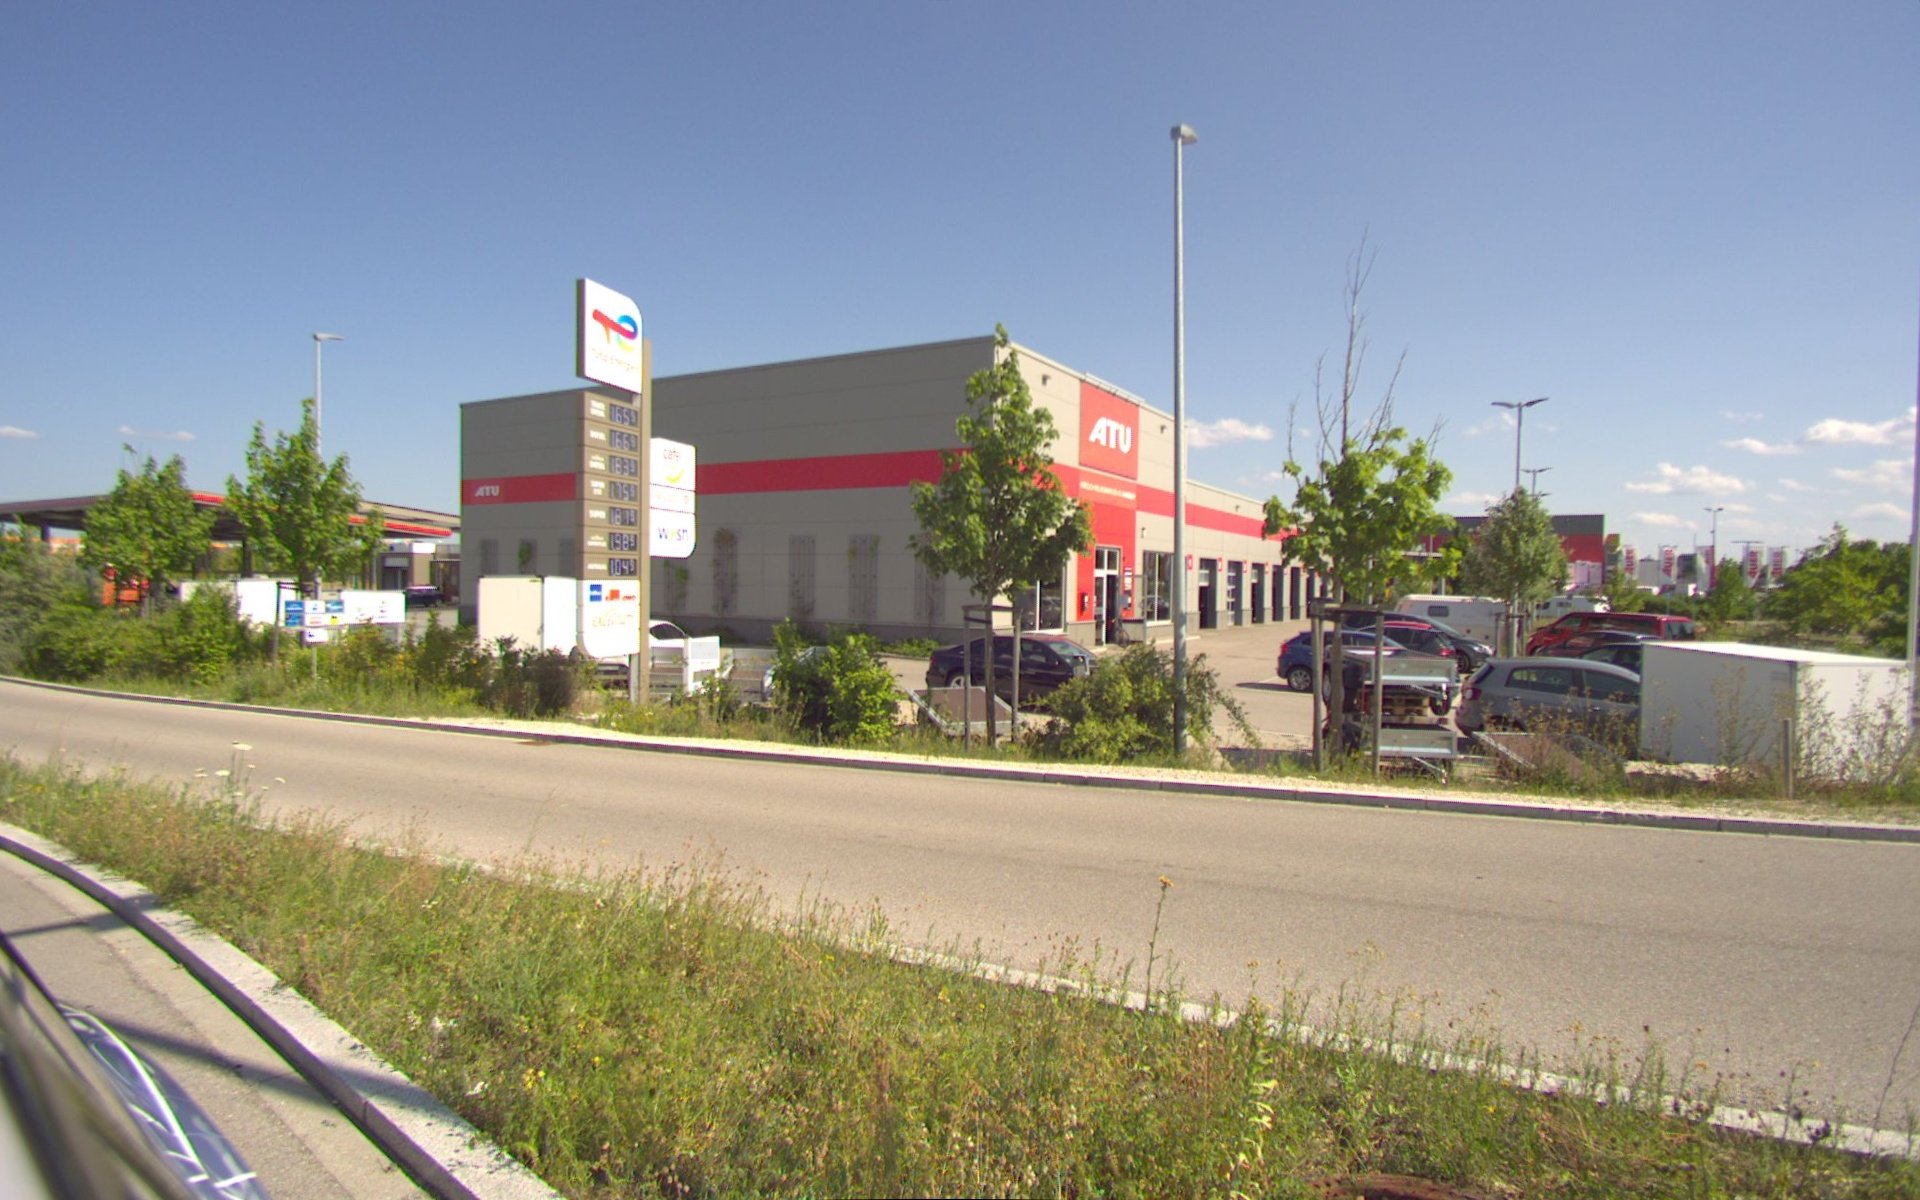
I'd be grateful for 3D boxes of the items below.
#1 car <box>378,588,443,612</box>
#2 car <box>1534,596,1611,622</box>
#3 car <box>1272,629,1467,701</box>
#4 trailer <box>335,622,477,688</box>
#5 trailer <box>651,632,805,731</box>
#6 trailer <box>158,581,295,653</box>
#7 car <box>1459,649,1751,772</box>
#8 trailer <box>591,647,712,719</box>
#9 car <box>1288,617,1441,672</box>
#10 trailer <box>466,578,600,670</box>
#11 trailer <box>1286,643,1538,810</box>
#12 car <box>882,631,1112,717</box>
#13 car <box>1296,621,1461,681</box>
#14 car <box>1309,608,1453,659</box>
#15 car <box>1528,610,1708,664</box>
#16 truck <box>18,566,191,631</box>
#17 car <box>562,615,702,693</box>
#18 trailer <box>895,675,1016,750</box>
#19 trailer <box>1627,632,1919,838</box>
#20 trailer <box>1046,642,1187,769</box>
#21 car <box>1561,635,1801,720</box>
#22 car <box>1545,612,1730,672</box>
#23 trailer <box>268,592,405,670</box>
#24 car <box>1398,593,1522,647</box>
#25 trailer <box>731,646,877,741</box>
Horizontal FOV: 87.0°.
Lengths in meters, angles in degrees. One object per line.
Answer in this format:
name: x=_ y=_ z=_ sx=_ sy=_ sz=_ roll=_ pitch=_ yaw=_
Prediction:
car: x=-38.681 y=-0.021 z=71.261 sx=1.695 sy=1.586 sz=3.637 roll=0 pitch=1 yaw=40
car: x=56.525 y=0.811 z=93.532 sx=2.005 sy=2.251 sz=6.294 roll=-1 pitch=1 yaw=-18
car: x=9.427 y=1.432 z=23.334 sx=3.984 sy=1.475 sz=1.807 roll=0 pitch=-2 yaw=30
trailer: x=-14.768 y=1.426 z=27.192 sx=1.581 sy=1.521 sz=3.593 roll=-1 pitch=1 yaw=6
trailer: x=-4.145 y=1.406 z=18.545 sx=1.533 sy=1.495 sz=3.178 roll=0 pitch=1 yaw=13
trailer: x=-21.975 y=0.471 z=30.479 sx=1.969 sy=2.029 sz=3.211 roll=-1 pitch=1 yaw=-5
car: x=10.104 y=1.662 z=16.116 sx=3.732 sy=1.563 sz=1.725 roll=0 pitch=1 yaw=32
trailer: x=-5.744 y=1.520 z=19.084 sx=1.303 sy=1.094 sz=2.773 roll=-1 pitch=1 yaw=3
car: x=12.178 y=1.298 z=30.536 sx=3.990 sy=1.475 sz=1.804 roll=0 pitch=1 yaw=35
trailer: x=-10.065 y=0.510 z=24.105 sx=1.725 sy=2.029 sz=3.237 roll=-1 pitch=1 yaw=3
trailer: x=6.029 y=1.603 z=14.001 sx=1.782 sy=1.785 sz=3.697 roll=-1 pitch=1 yaw=0
car: x=0.702 y=1.434 z=20.848 sx=4.486 sy=1.495 sz=1.782 roll=-1 pitch=0 yaw=35
car: x=11.634 y=1.359 z=28.223 sx=3.990 sy=1.475 sz=1.804 roll=0 pitch=1 yaw=35
car: x=13.463 y=1.029 z=32.434 sx=3.990 sy=1.475 sz=1.804 roll=0 pitch=1 yaw=35
car: x=20.503 y=1.107 z=31.772 sx=1.794 sy=1.475 sz=4.470 roll=-1 pitch=1 yaw=-25
truck: x=-46.782 y=-0.101 z=55.602 sx=2.623 sy=3.343 sz=6.858 roll=0 pitch=1 yaw=21
car: x=-7.452 y=1.176 z=23.425 sx=1.697 sy=1.548 sz=3.995 roll=-1 pitch=1 yaw=4
trailer: x=-0.044 y=1.823 z=16.818 sx=1.841 sy=0.888 sz=2.836 roll=-1 pitch=1 yaw=1
trailer: x=10.087 y=1.428 z=12.061 sx=1.782 sy=1.785 sz=3.698 roll=-1 pitch=2 yaw=0
trailer: x=2.426 y=1.611 z=16.519 sx=1.684 sy=1.462 sz=3.698 roll=-1 pitch=3 yaw=0
car: x=16.122 y=1.671 z=22.872 sx=1.794 sy=1.475 sz=4.014 roll=1 pitch=1 yaw=-25
car: x=19.041 y=1.123 z=28.636 sx=1.794 sy=1.475 sz=4.013 roll=-1 pitch=1 yaw=-25
trailer: x=-17.264 y=0.815 z=28.139 sx=1.976 sy=2.029 sz=2.731 roll=-1 pitch=1 yaw=7
car: x=19.934 y=0.756 z=40.366 sx=4.333 sy=2.029 sz=1.884 roll=0 pitch=1 yaw=31
trailer: x=-2.633 y=1.551 z=17.638 sx=1.378 sy=1.332 sz=2.895 roll=0 pitch=1 yaw=18
